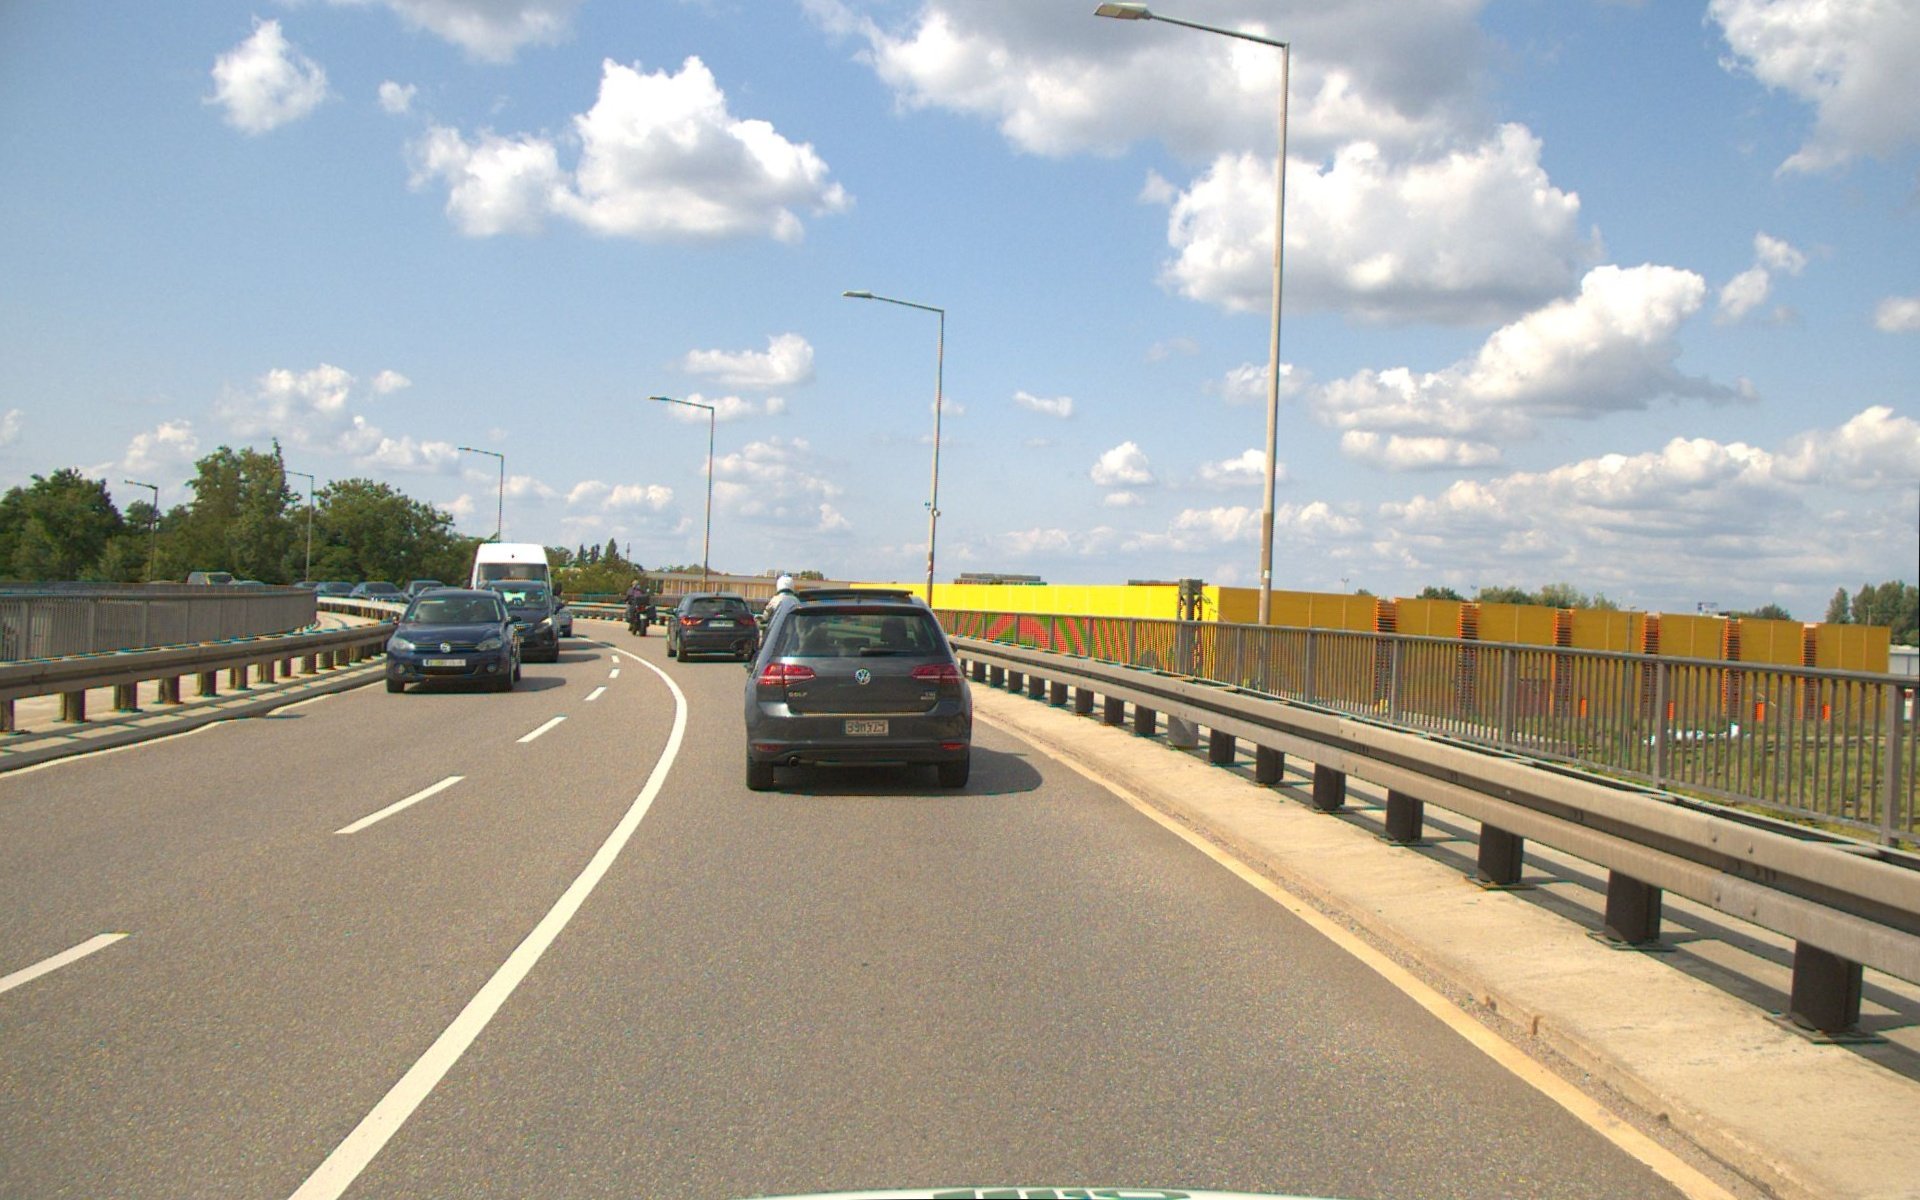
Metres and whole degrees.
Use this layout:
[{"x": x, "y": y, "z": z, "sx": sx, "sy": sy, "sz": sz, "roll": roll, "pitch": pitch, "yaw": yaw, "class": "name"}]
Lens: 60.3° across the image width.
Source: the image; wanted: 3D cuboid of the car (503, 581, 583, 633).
[{"x": -12.659, "y": 0.191, "z": 50.028, "sx": 1.742, "sy": 1.485, "sz": 4.269, "roll": -1, "pitch": 1, "yaw": -22, "class": "car"}]

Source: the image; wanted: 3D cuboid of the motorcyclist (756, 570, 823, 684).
[{"x": -2.575, "y": 0.393, "z": 24.878, "sx": 0.948, "sy": 1.648, "sz": 1.123, "roll": 1, "pitch": 0, "yaw": -8, "class": "motorcyclist"}]

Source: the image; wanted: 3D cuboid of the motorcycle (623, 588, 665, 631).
[{"x": -9.583, "y": 0.277, "z": 50.156, "sx": 0.874, "sy": 1.269, "sz": 2.385, "roll": 1, "pitch": 1, "yaw": -20, "class": "motorcycle"}]

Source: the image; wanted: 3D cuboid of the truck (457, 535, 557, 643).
[{"x": -11.671, "y": -0.306, "z": 42.309, "sx": 1.965, "sy": 2.551, "sz": 5.912, "roll": 0, "pitch": 1, "yaw": -20, "class": "truck"}]

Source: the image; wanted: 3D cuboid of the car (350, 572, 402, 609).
[{"x": -26.708, "y": -0.471, "z": 75.575, "sx": 1.664, "sy": 1.624, "sz": 4.245, "roll": -1, "pitch": 1, "yaw": -27, "class": "car"}]

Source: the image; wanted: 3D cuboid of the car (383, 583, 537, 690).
[{"x": -7.543, "y": 0.482, "z": 25.318, "sx": 1.628, "sy": 1.479, "sz": 4.318, "roll": 0, "pitch": 1, "yaw": -9, "class": "car"}]

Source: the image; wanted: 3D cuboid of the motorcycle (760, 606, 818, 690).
[{"x": -2.580, "y": 0.687, "z": 24.776, "sx": 0.774, "sy": 1.151, "sz": 2.395, "roll": 1, "pitch": 1, "yaw": -8, "class": "motorcycle"}]

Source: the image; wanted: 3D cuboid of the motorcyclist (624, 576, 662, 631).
[{"x": -9.656, "y": 0.099, "z": 50.348, "sx": 0.952, "sy": 1.624, "sz": 1.118, "roll": 1, "pitch": 0, "yaw": -20, "class": "motorcyclist"}]

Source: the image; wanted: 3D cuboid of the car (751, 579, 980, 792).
[{"x": -0.808, "y": 0.610, "z": 13.723, "sx": 1.610, "sy": 1.504, "sz": 3.869, "roll": 1, "pitch": 0, "yaw": -4, "class": "car"}]

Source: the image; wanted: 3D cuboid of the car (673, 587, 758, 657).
[{"x": -5.159, "y": 0.466, "z": 35.269, "sx": 1.649, "sy": 1.412, "sz": 3.734, "roll": 0, "pitch": -1, "yaw": -6, "class": "car"}]

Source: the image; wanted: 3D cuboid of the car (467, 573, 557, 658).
[{"x": -9.290, "y": 0.284, "z": 34.462, "sx": 1.688, "sy": 1.660, "sz": 4.411, "roll": 0, "pitch": 0, "yaw": -14, "class": "car"}]
